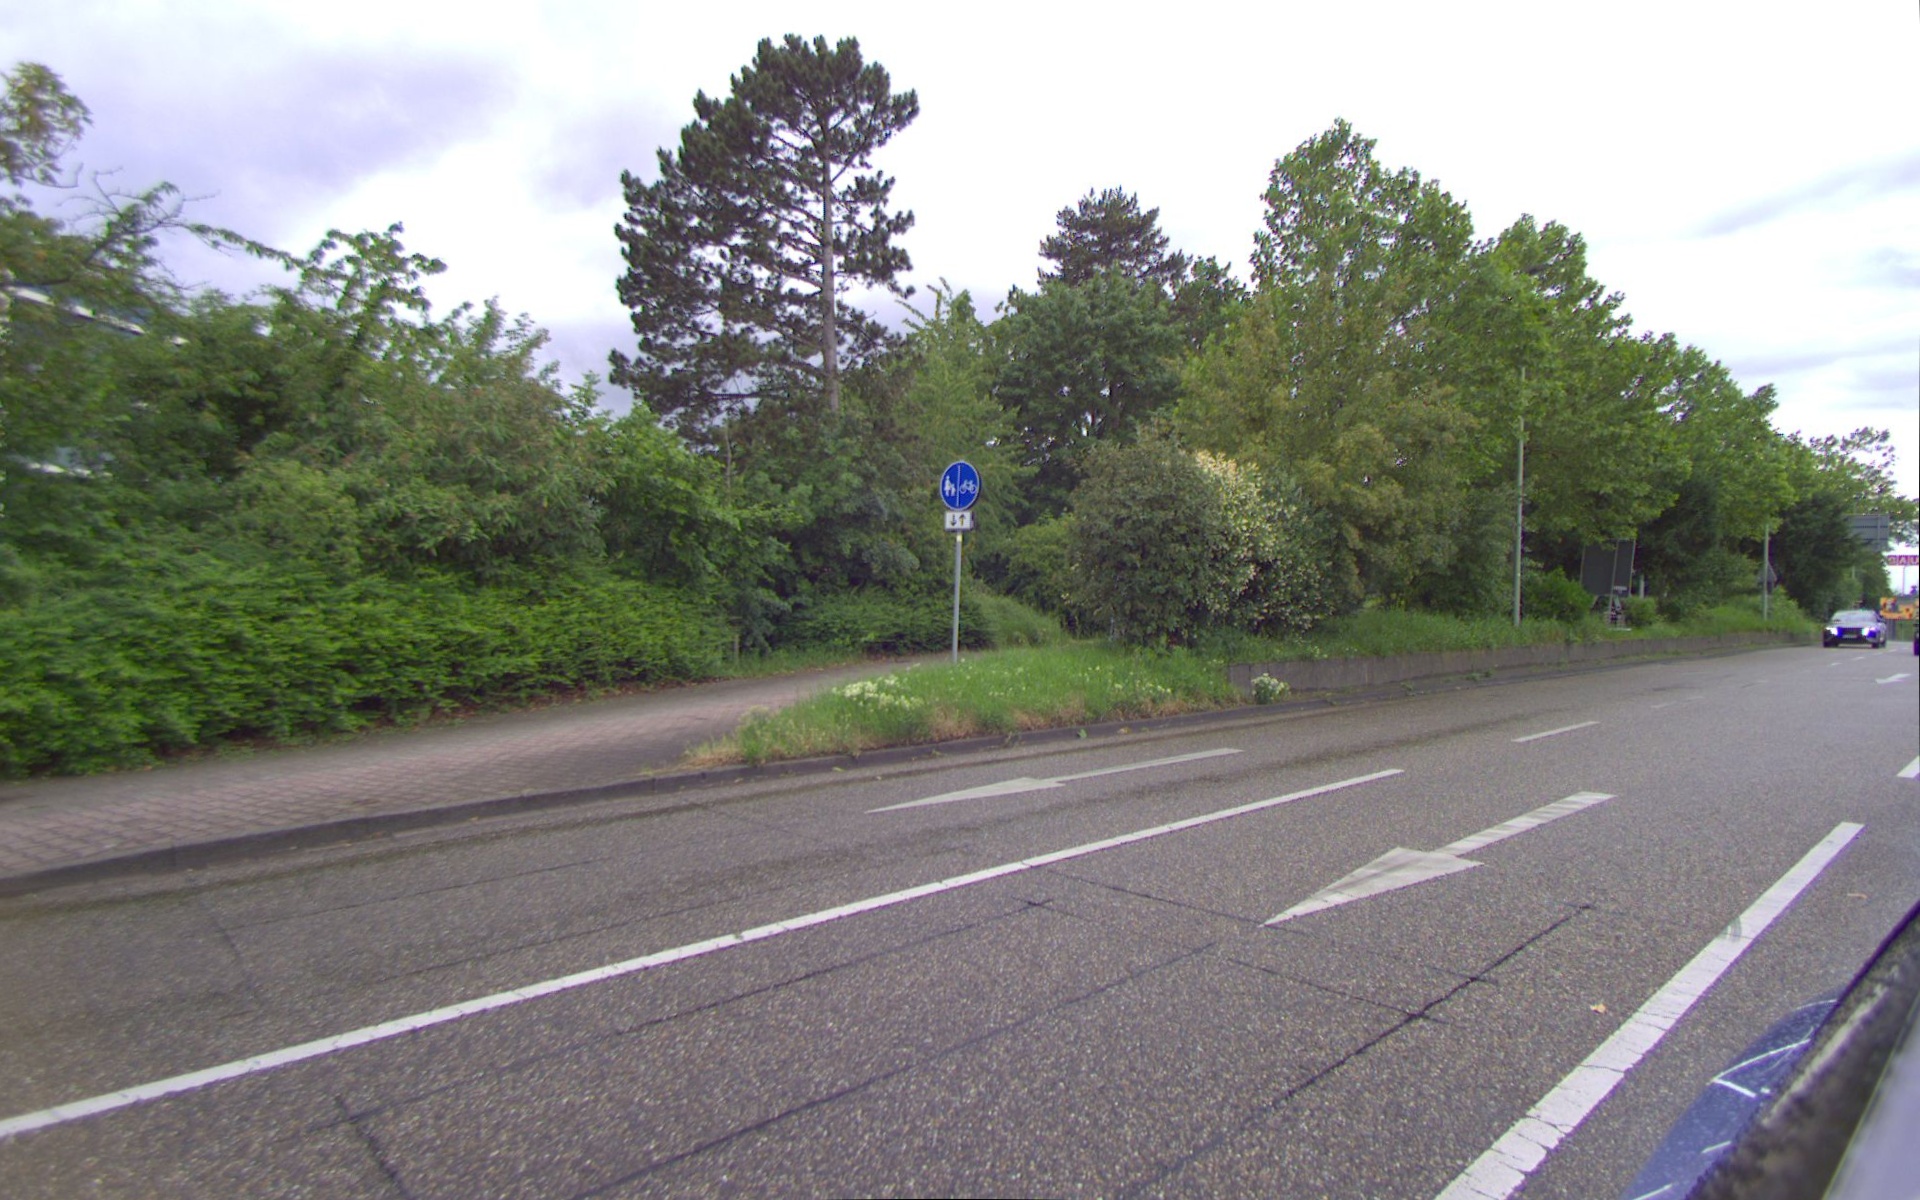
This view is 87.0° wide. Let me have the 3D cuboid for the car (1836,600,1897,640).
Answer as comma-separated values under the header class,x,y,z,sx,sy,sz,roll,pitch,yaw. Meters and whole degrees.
class,x,y,z,sx,sy,sz,roll,pitch,yaw
car,39.524,0.860,44.097,3.778,1.643,1.702,1,-2,-44
